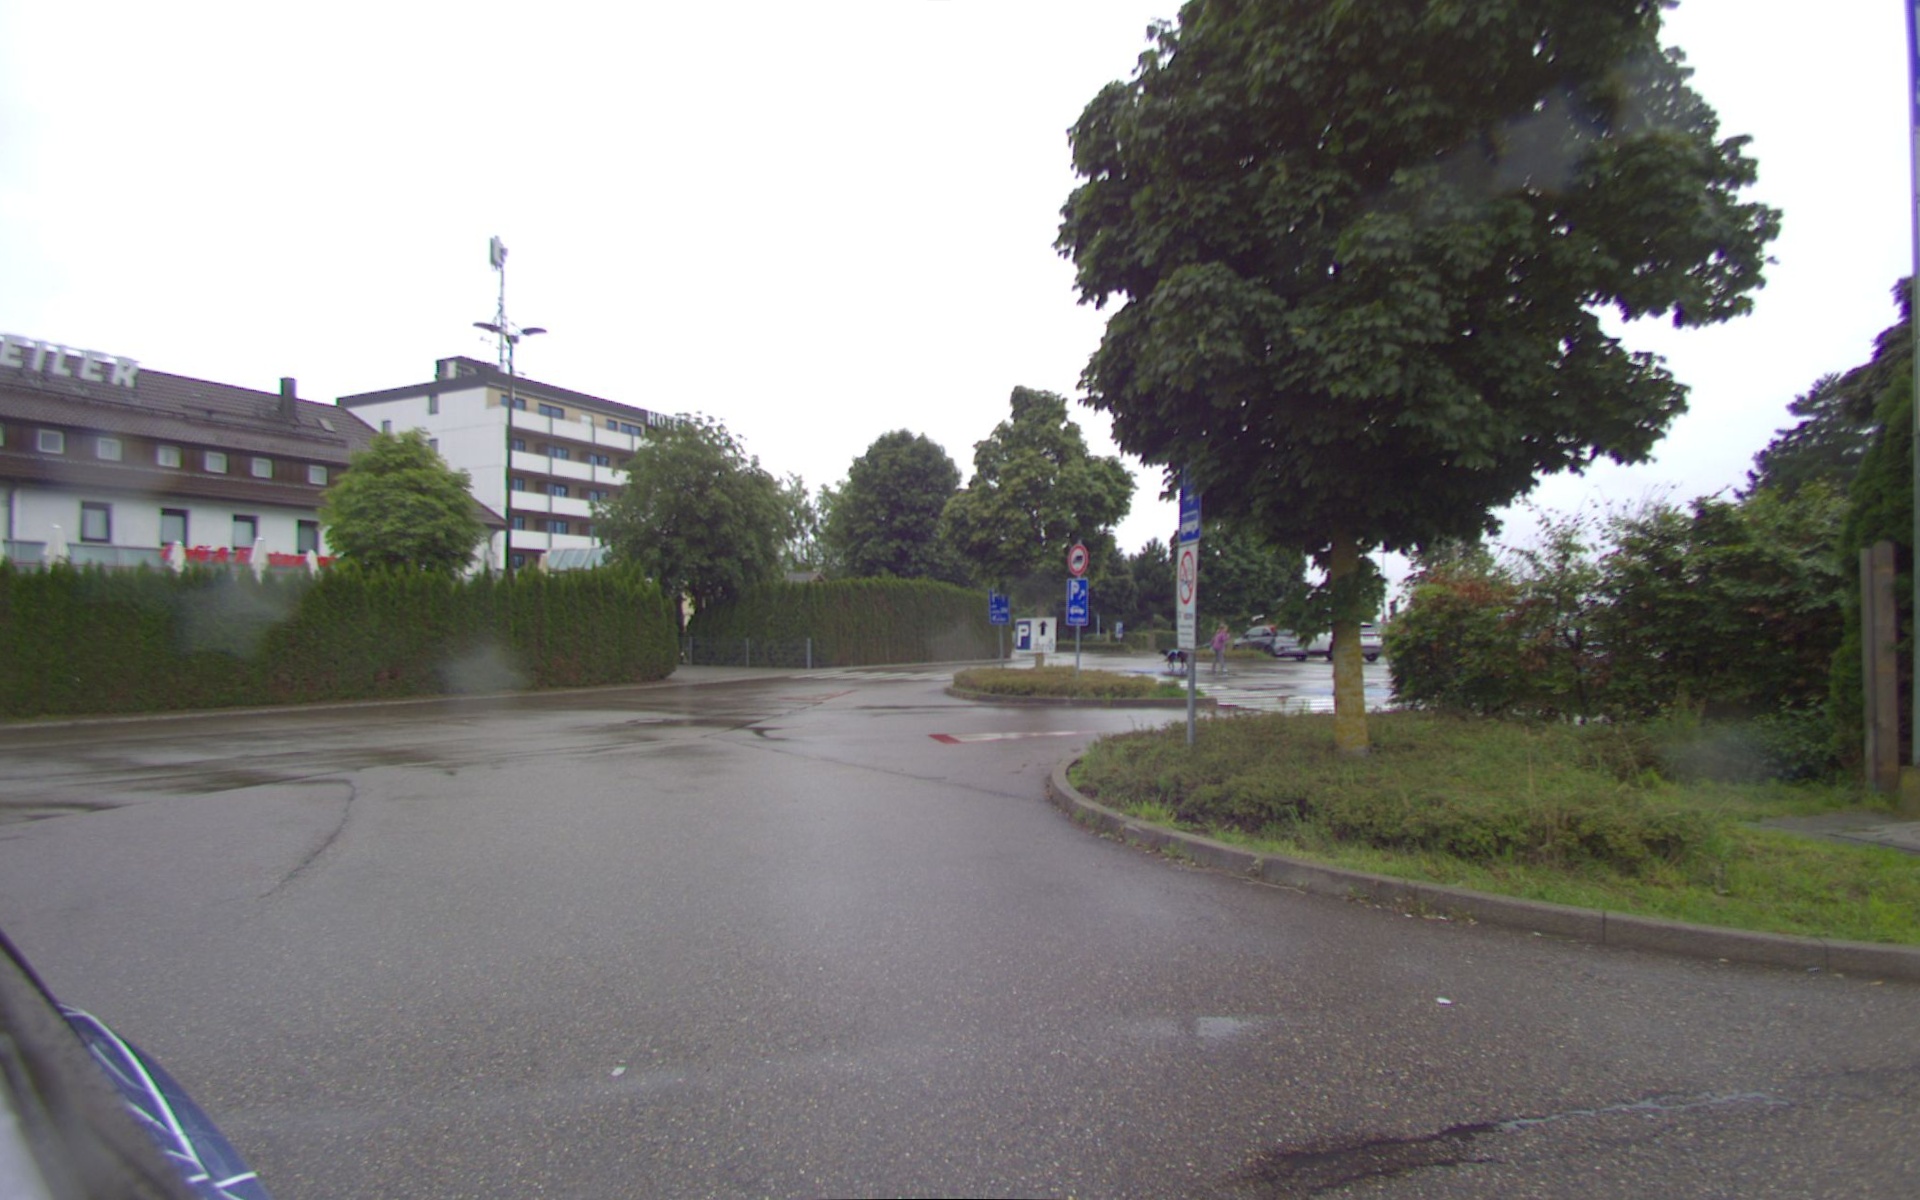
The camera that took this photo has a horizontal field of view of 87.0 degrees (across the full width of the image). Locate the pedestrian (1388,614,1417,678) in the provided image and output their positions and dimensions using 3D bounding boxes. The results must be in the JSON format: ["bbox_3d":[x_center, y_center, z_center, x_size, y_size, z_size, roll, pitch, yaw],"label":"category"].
[{"bbox_3d":[11.565,1.192,26.457,0.642,1.651,0.711,0,-3,22],"label":"pedestrian"}]

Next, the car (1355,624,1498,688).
[{"bbox_3d":[14.397,1.704,31.521,1.819,1.806,4.034,-1,-2,-15],"label":"car"}]

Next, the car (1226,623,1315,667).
[{"bbox_3d":[12.948,1.886,42.463,1.691,1.729,4.037,2,-3,-15],"label":"car"}]

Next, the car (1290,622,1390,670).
[{"bbox_3d":[15.919,1.922,42.657,1.691,1.876,4.380,2,-3,-15],"label":"car"}]

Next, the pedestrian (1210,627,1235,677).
[{"bbox_3d":[7.343,1.457,28.301,0.638,1.372,0.450,1,-2,13],"label":"pedestrian"}]
